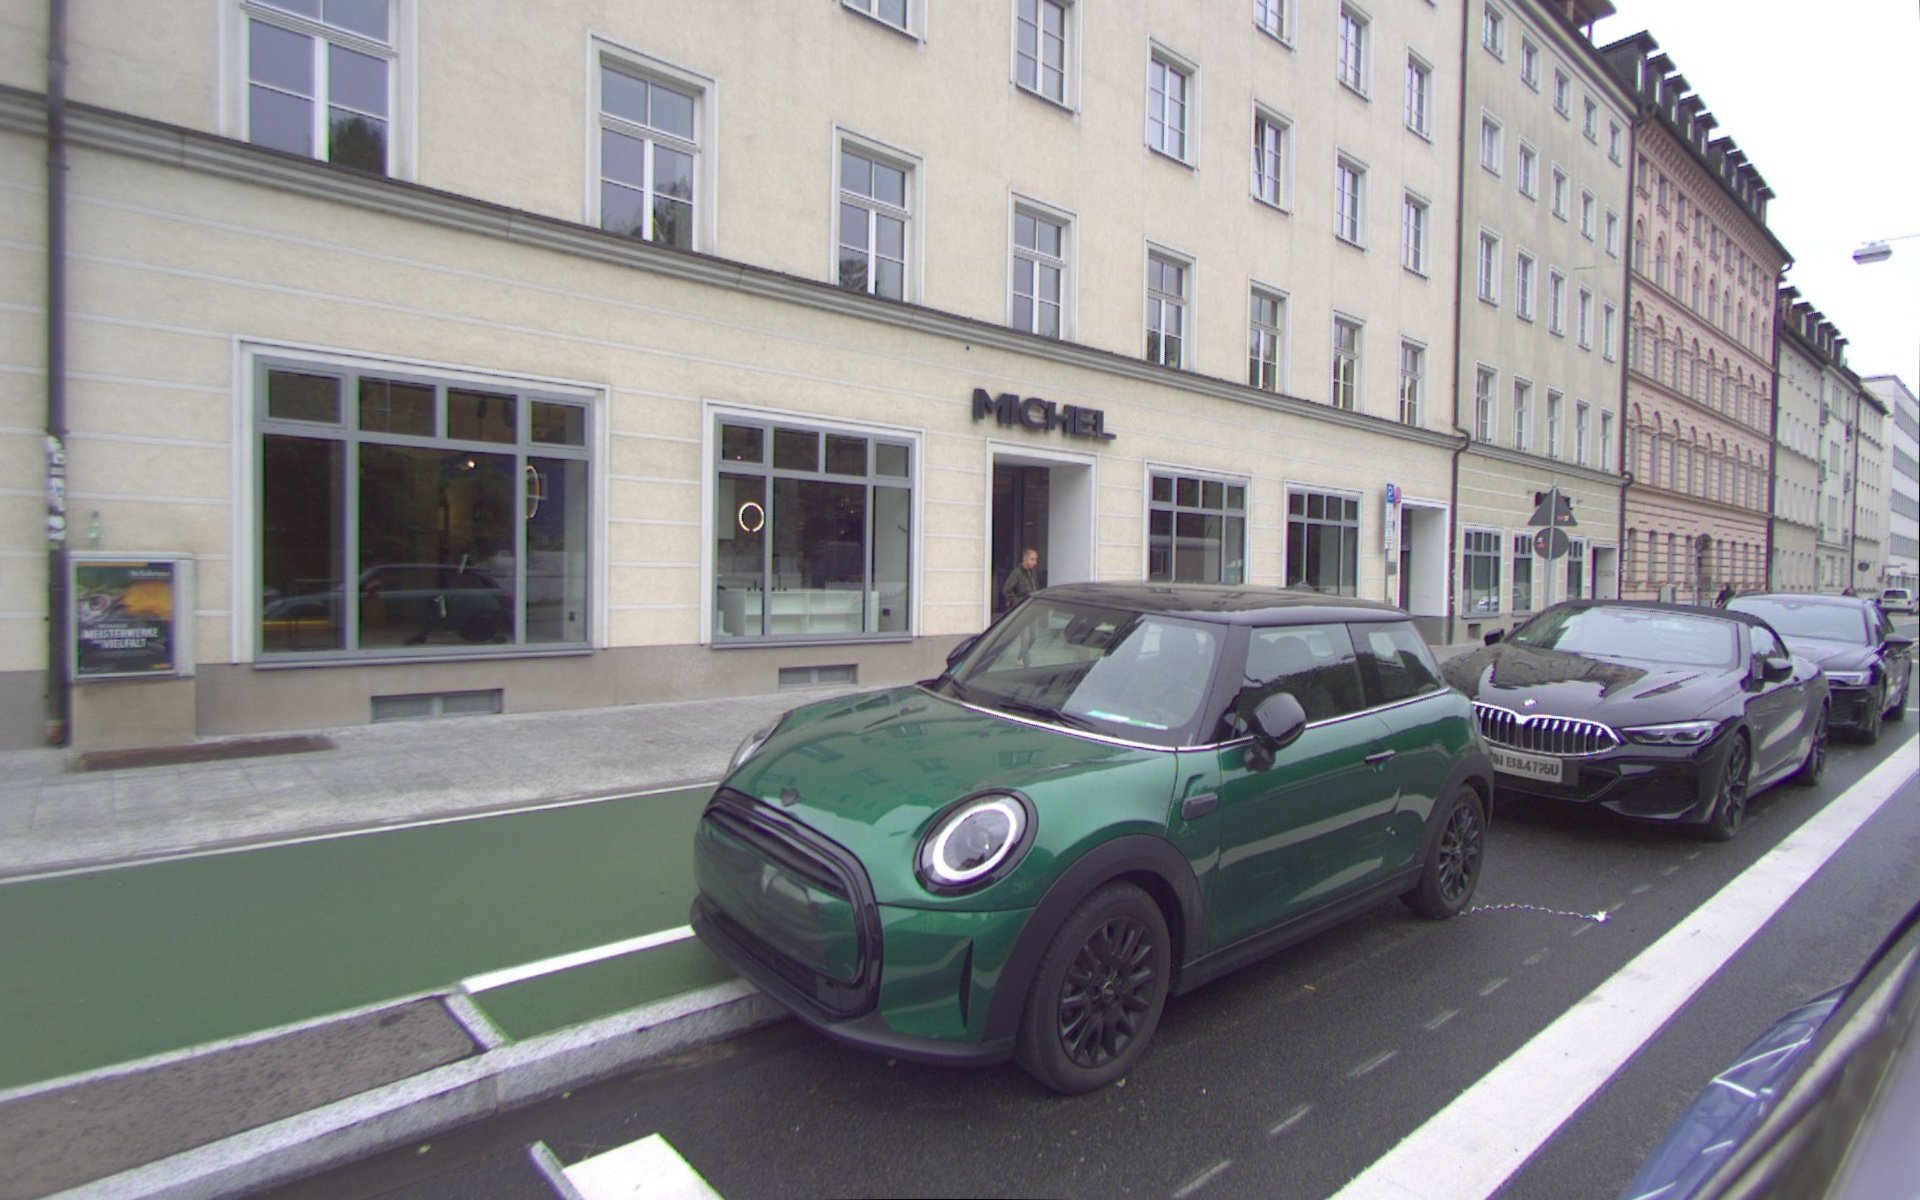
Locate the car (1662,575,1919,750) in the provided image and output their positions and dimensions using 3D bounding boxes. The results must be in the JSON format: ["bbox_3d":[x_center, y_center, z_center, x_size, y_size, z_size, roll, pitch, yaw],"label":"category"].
[{"bbox_3d":[9.710,0.553,11.525,4.386,1.498,1.812,0,5,-43],"label":"car"}]

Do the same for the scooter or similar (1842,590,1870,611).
[{"bbox_3d":[51.672,0.020,58.380,1.063,1.207,0.451,1,1,20],"label":"scooter or similar"}]

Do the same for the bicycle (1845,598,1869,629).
[{"bbox_3d":[32.628,0.483,36.810,0.630,1.050,1.987,2,2,42],"label":"bicycle"}]

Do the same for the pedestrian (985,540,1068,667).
[{"bbox_3d":[0.925,0.031,14.228,0.766,1.710,0.862,0,2,-34],"label":"pedestrian"}]

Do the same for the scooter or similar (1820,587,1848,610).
[{"bbox_3d":[47.822,-0.091,55.367,1.055,1.261,0.554,1,1,-6],"label":"scooter or similar"}]

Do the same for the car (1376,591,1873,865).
[{"bbox_3d":[5.110,0.650,7.490,4.636,1.425,1.829,0,0,-40],"label":"car"}]

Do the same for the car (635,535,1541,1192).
[{"bbox_3d":[0.788,0.601,4.237,3.761,1.540,1.678,0,0,-40],"label":"car"}]

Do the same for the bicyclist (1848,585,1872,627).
[{"bbox_3d":[32.695,0.217,36.770,0.630,1.486,0.643,2,1,42],"label":"bicyclist"}]

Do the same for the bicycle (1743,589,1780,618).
[{"bbox_3d":[34.335,0.156,43.339,1.690,1.191,0.558,0,1,-27],"label":"bicycle"}]

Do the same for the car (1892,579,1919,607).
[{"bbox_3d":[65.206,-0.494,69.209,3.931,1.855,1.764,0,1,-42],"label":"car"}]

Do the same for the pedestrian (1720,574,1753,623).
[{"bbox_3d":[28.939,-0.059,37.718,0.819,1.767,0.795,0,1,-40],"label":"pedestrian"}]
